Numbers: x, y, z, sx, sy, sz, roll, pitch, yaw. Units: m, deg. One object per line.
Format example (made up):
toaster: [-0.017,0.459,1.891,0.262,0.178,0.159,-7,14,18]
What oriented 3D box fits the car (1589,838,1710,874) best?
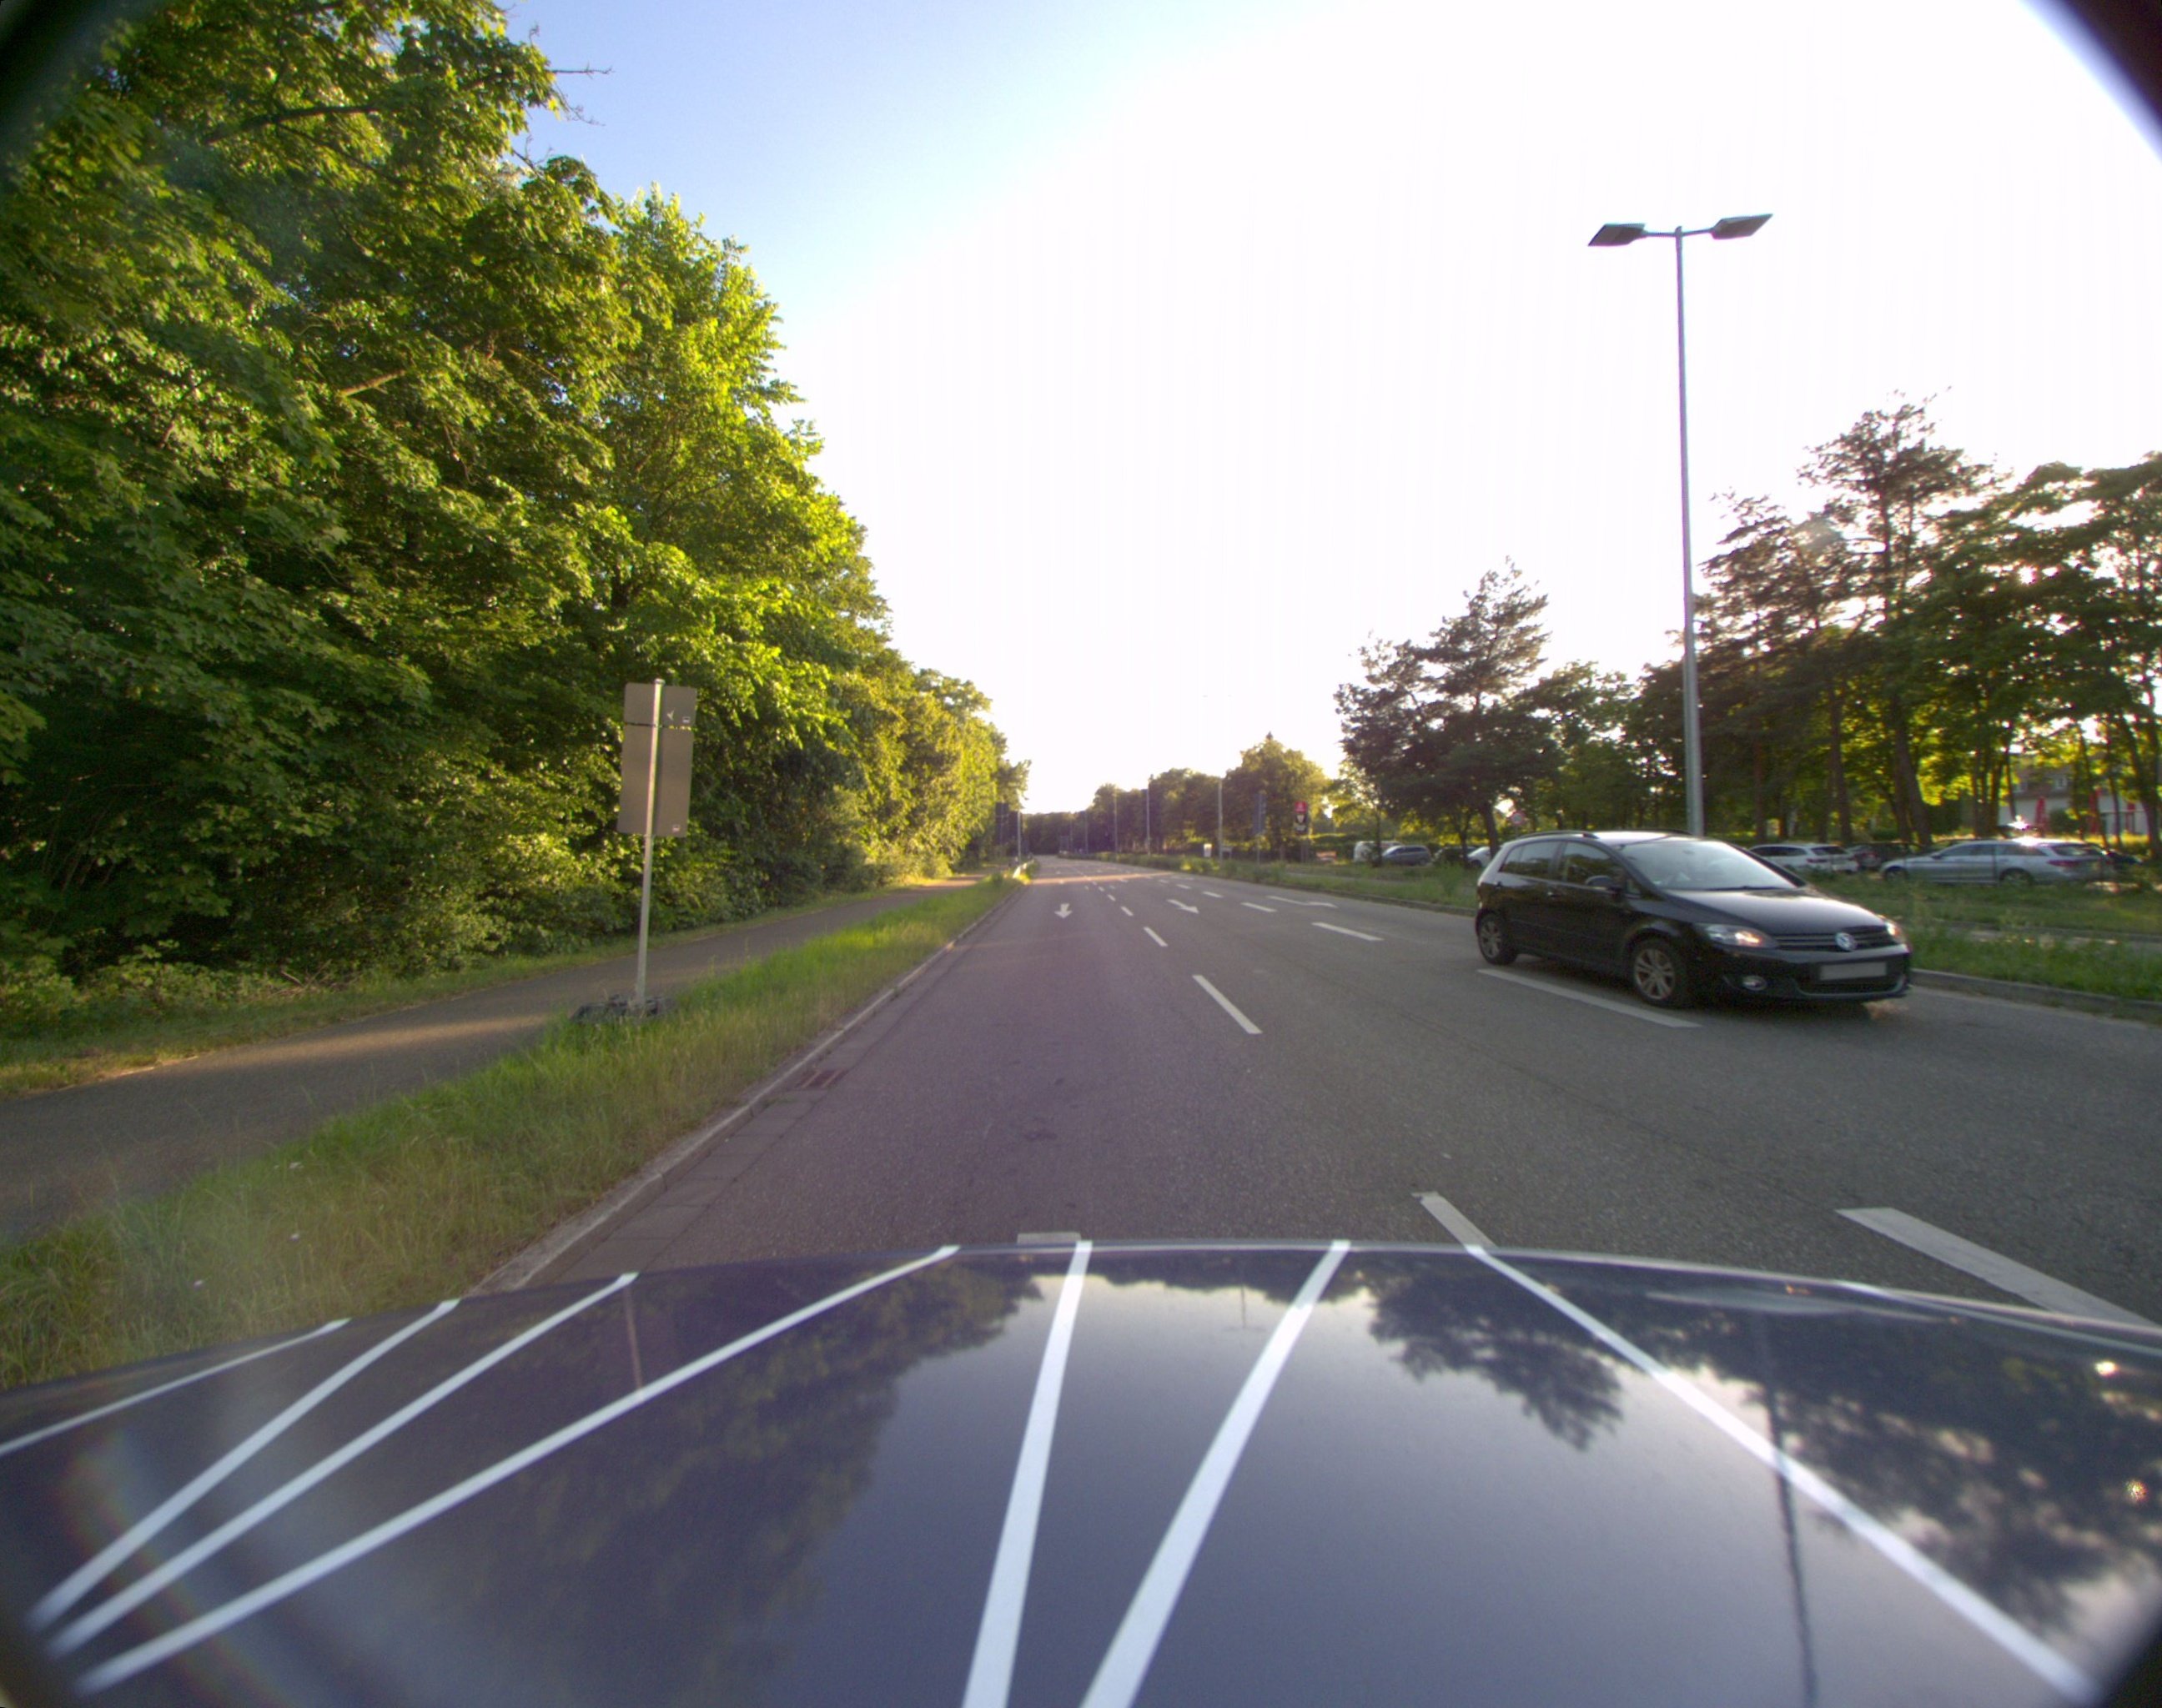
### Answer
car: [26.830,0.100,35.941,4.525,1.608,1.771,-1,1,-3]

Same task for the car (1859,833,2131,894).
car: [26.779,0.244,22.613,1.999,1.597,4.920,-1,1,-4]

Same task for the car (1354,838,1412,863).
car: [24.223,-0.255,61.054,3.998,1.933,1.766,-1,1,-2]

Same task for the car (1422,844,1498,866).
car: [24.218,0.068,48.633,3.997,1.304,1.732,-1,1,-1]

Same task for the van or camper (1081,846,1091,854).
van or camper: [1.431,-1.118,205.076,2.000,2.002,4.574,-1,1,-9]

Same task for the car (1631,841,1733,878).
car: [25.905,0.214,32.812,3.099,1.518,1.659,-1,1,-2]

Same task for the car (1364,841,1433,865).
car: [24.189,-0.102,58.016,4.498,1.787,1.909,-1,1,-2]

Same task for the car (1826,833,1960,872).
car: [35.425,-0.076,33.231,3.997,1.641,1.766,-1,1,-1]

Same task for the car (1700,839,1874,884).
car: [26.424,0.254,28.721,1.999,1.539,4.708,-1,1,-4]

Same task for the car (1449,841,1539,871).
car: [25.175,0.127,46.391,4.497,1.743,1.909,-1,1,-1]

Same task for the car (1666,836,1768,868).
car: [34.085,-0.124,40.786,3.997,1.641,1.766,-1,1,0]

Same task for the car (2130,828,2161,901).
car: [27.110,0.256,16.405,1.999,1.776,4.920,-1,1,-4]

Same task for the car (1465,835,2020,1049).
car: [5.892,0.630,7.594,1.999,1.543,3.999,-1,0,-2]

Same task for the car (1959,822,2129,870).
car: [34.985,-0.289,27.675,3.997,1.641,1.766,-1,1,-1]
